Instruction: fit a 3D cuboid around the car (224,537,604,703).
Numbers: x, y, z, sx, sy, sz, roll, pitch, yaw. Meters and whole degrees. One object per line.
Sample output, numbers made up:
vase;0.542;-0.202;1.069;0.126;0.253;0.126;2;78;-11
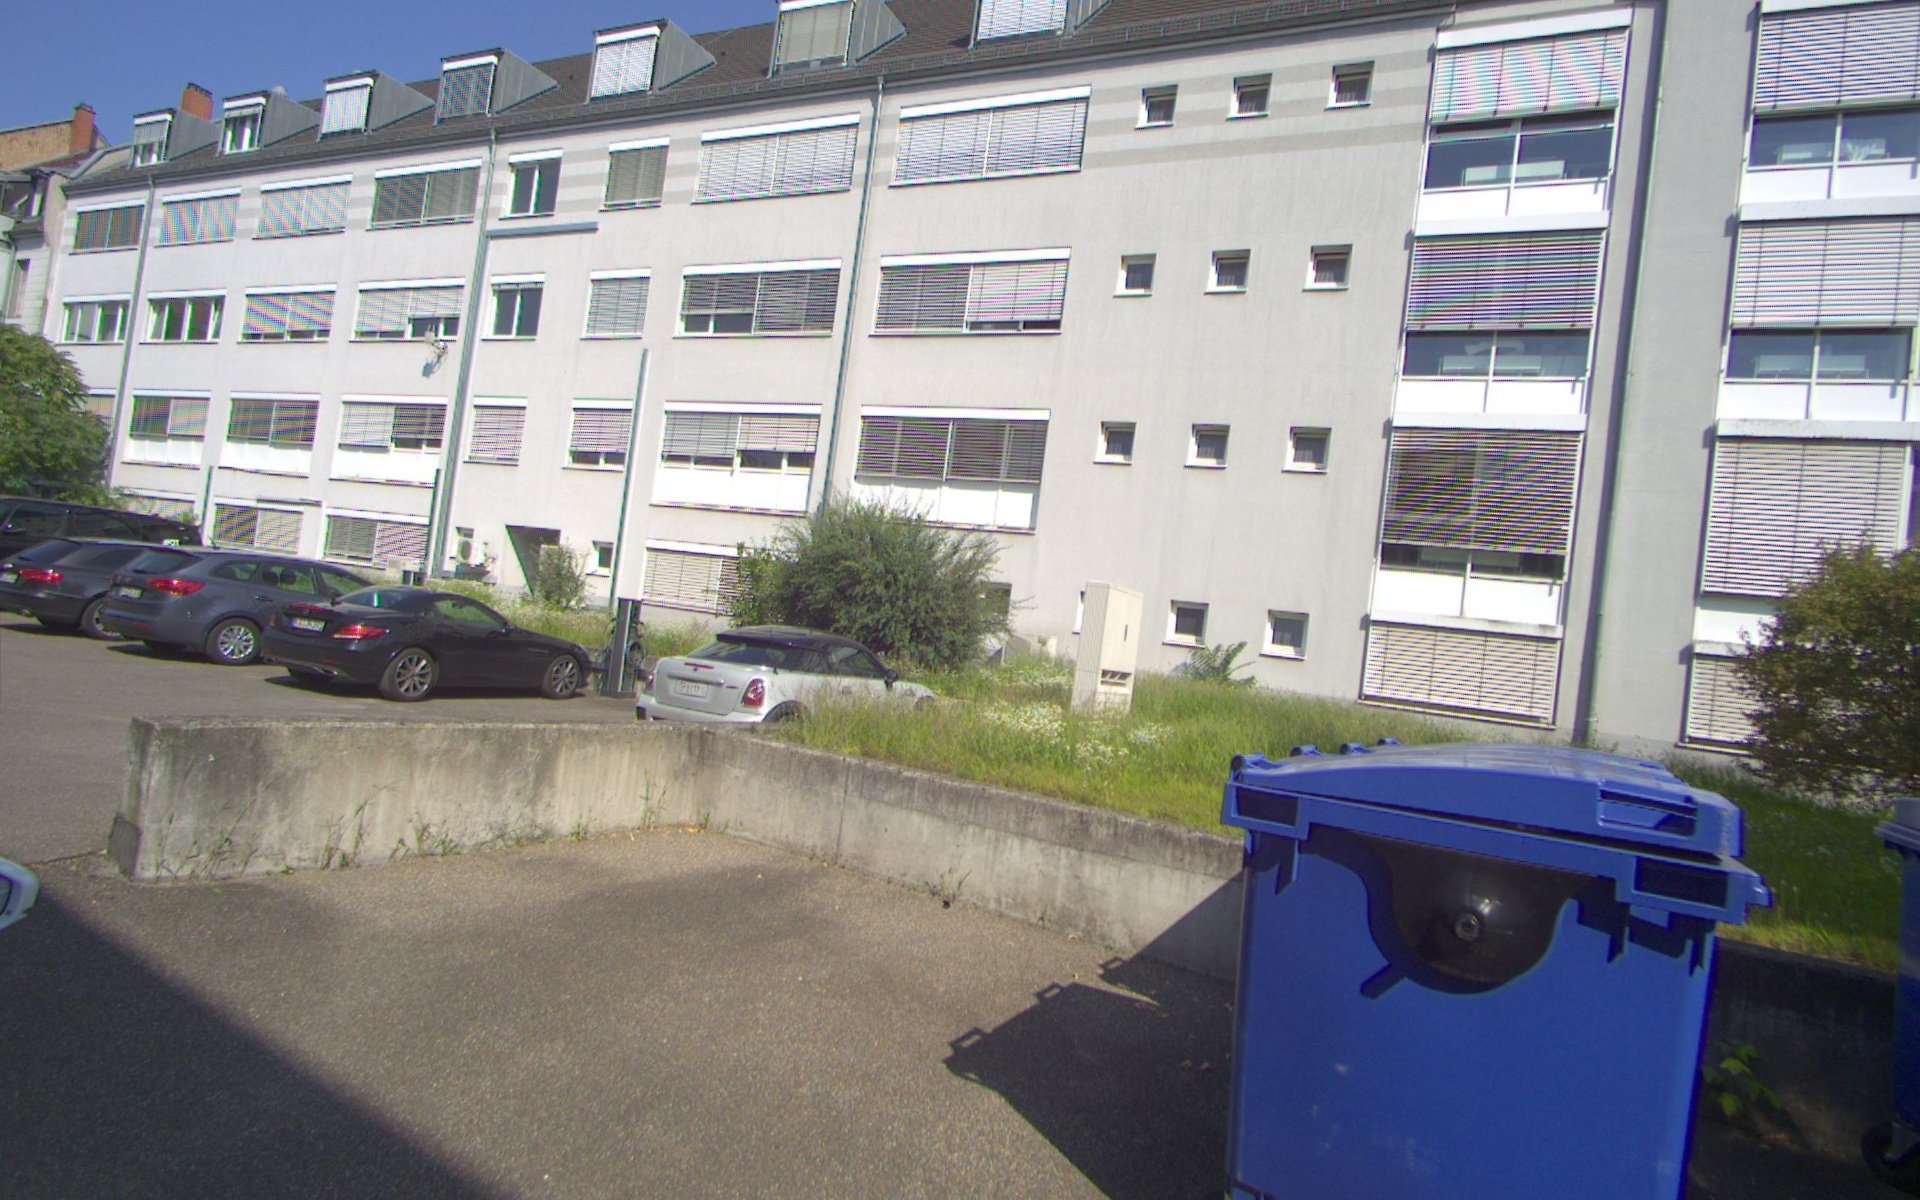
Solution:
car;-6.688;0.371;12.824;1.862;1.606;3.816;6;-3;21

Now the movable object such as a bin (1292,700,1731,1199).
movable object such as a bin;2.009;1.133;3.674;1.099;1.355;1.236;5;-3;34

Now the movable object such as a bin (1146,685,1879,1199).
movable object such as a bin;1.302;0.992;2.556;1.175;1.355;1.304;6;-3;30

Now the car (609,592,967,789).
car;-1.628;0.845;10.669;1.772;1.565;3.622;6;1;29

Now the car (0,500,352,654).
car;-12.002;-0.259;15.420;1.741;1.710;4.130;6;-4;28

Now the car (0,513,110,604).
car;-18.357;-0.921;18.320;1.742;1.499;3.948;6;-3;22

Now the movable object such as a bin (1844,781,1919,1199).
movable object such as a bin;3.404;1.298;2.780;1.058;1.355;1.230;6;-3;27

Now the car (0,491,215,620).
car;-15.757;-0.816;17.132;1.849;1.814;4.518;6;-3;22

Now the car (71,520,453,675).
car;-9.557;0.065;14.138;1.846;1.606;3.876;6;-3;26
